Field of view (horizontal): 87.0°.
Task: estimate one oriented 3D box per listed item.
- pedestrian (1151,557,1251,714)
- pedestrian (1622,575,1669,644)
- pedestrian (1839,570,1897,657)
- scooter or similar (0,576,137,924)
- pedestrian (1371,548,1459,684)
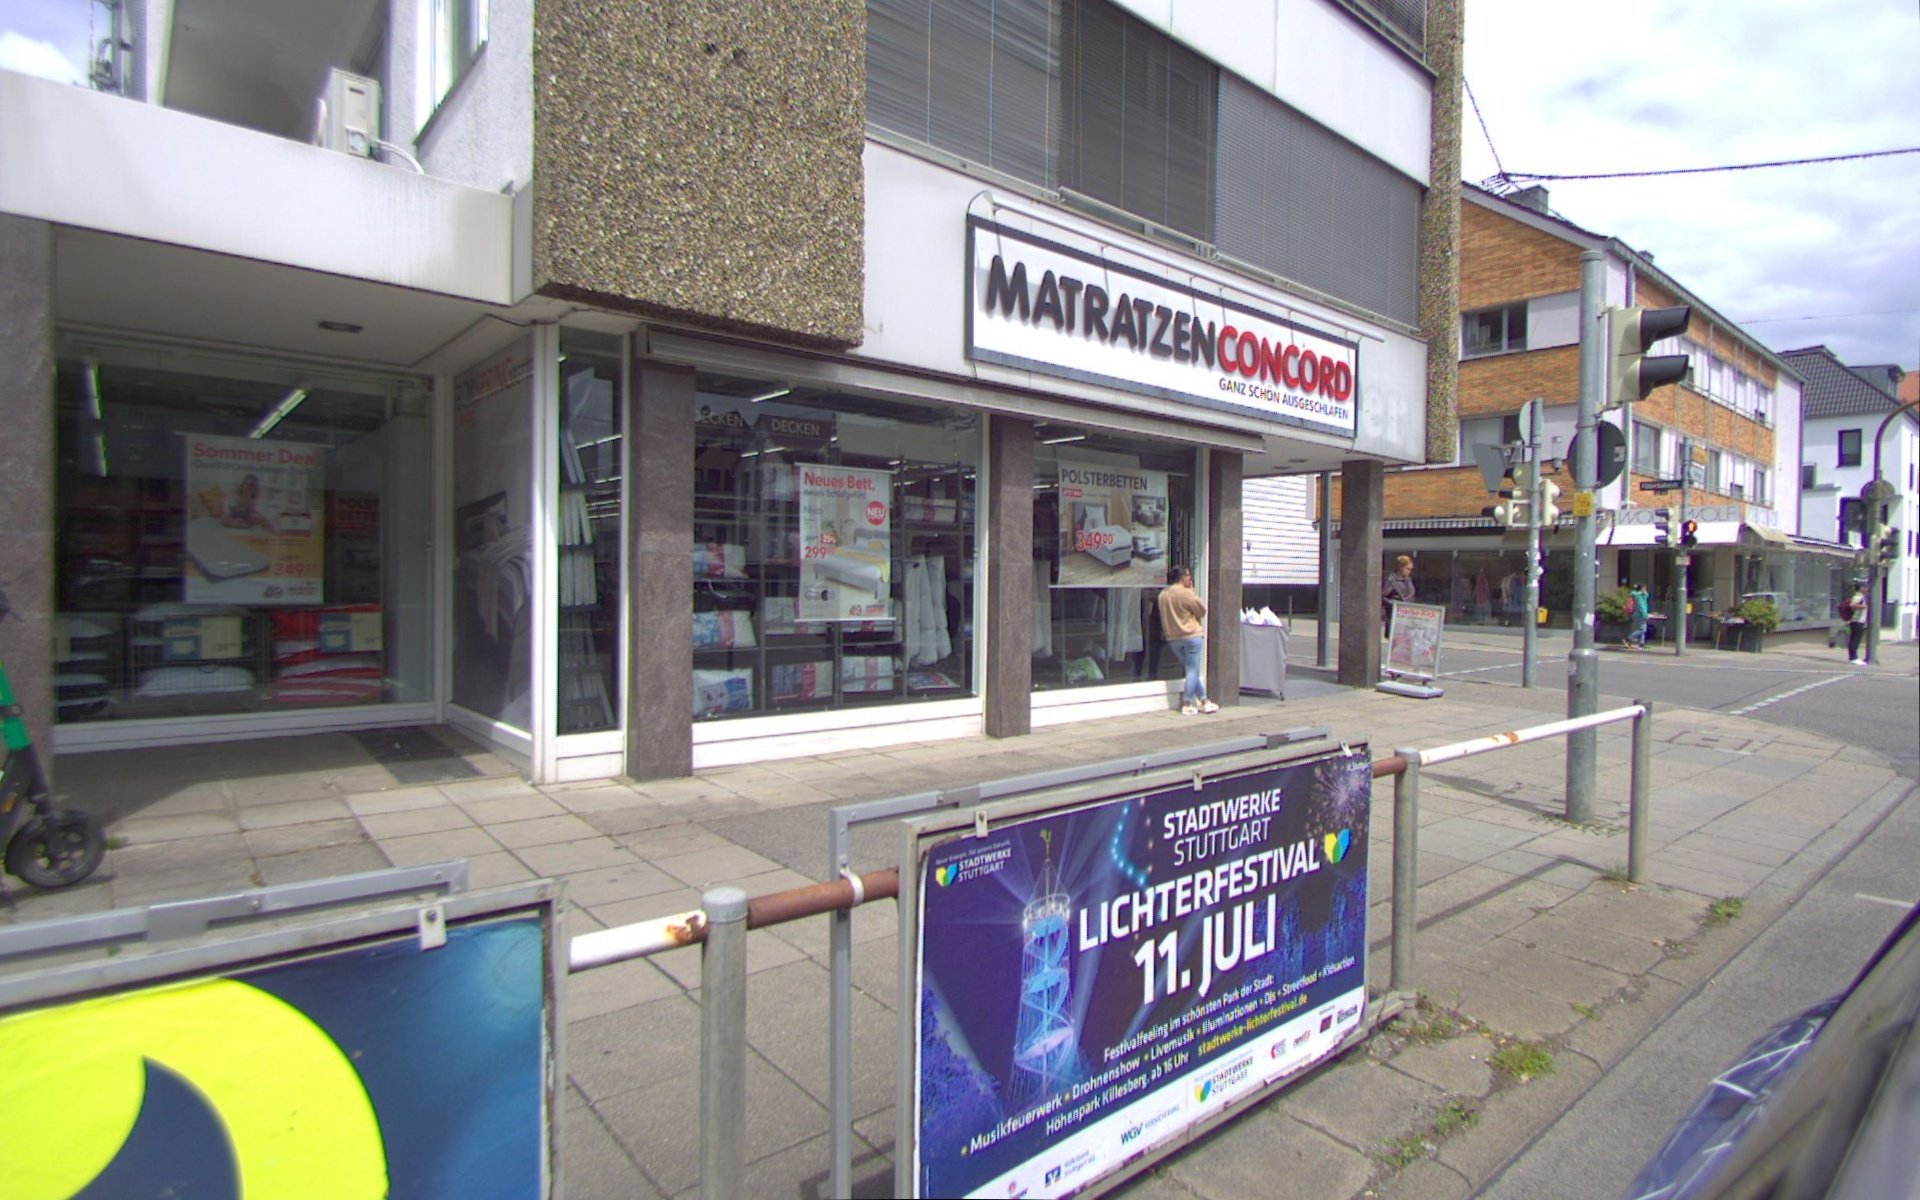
[{"bbox_3d":[2.443,0.335,10.269,0.707,1.517,0.681,0,1,-41],"label":"pedestrian"},{"bbox_3d":[15.944,0.207,23.539,0.815,1.544,0.769,2,1,39],"label":"pedestrian"},{"bbox_3d":[19.985,0.290,22.283,0.862,1.853,0.583,1,2,-24],"label":"pedestrian"},{"bbox_3d":[-3.940,0.557,3.827,0.686,1.283,1.169,2,2,37],"label":"scooter or similar"},{"bbox_3d":[5.898,0.190,13.170,0.784,1.691,0.805,2,1,9],"label":"pedestrian"}]
